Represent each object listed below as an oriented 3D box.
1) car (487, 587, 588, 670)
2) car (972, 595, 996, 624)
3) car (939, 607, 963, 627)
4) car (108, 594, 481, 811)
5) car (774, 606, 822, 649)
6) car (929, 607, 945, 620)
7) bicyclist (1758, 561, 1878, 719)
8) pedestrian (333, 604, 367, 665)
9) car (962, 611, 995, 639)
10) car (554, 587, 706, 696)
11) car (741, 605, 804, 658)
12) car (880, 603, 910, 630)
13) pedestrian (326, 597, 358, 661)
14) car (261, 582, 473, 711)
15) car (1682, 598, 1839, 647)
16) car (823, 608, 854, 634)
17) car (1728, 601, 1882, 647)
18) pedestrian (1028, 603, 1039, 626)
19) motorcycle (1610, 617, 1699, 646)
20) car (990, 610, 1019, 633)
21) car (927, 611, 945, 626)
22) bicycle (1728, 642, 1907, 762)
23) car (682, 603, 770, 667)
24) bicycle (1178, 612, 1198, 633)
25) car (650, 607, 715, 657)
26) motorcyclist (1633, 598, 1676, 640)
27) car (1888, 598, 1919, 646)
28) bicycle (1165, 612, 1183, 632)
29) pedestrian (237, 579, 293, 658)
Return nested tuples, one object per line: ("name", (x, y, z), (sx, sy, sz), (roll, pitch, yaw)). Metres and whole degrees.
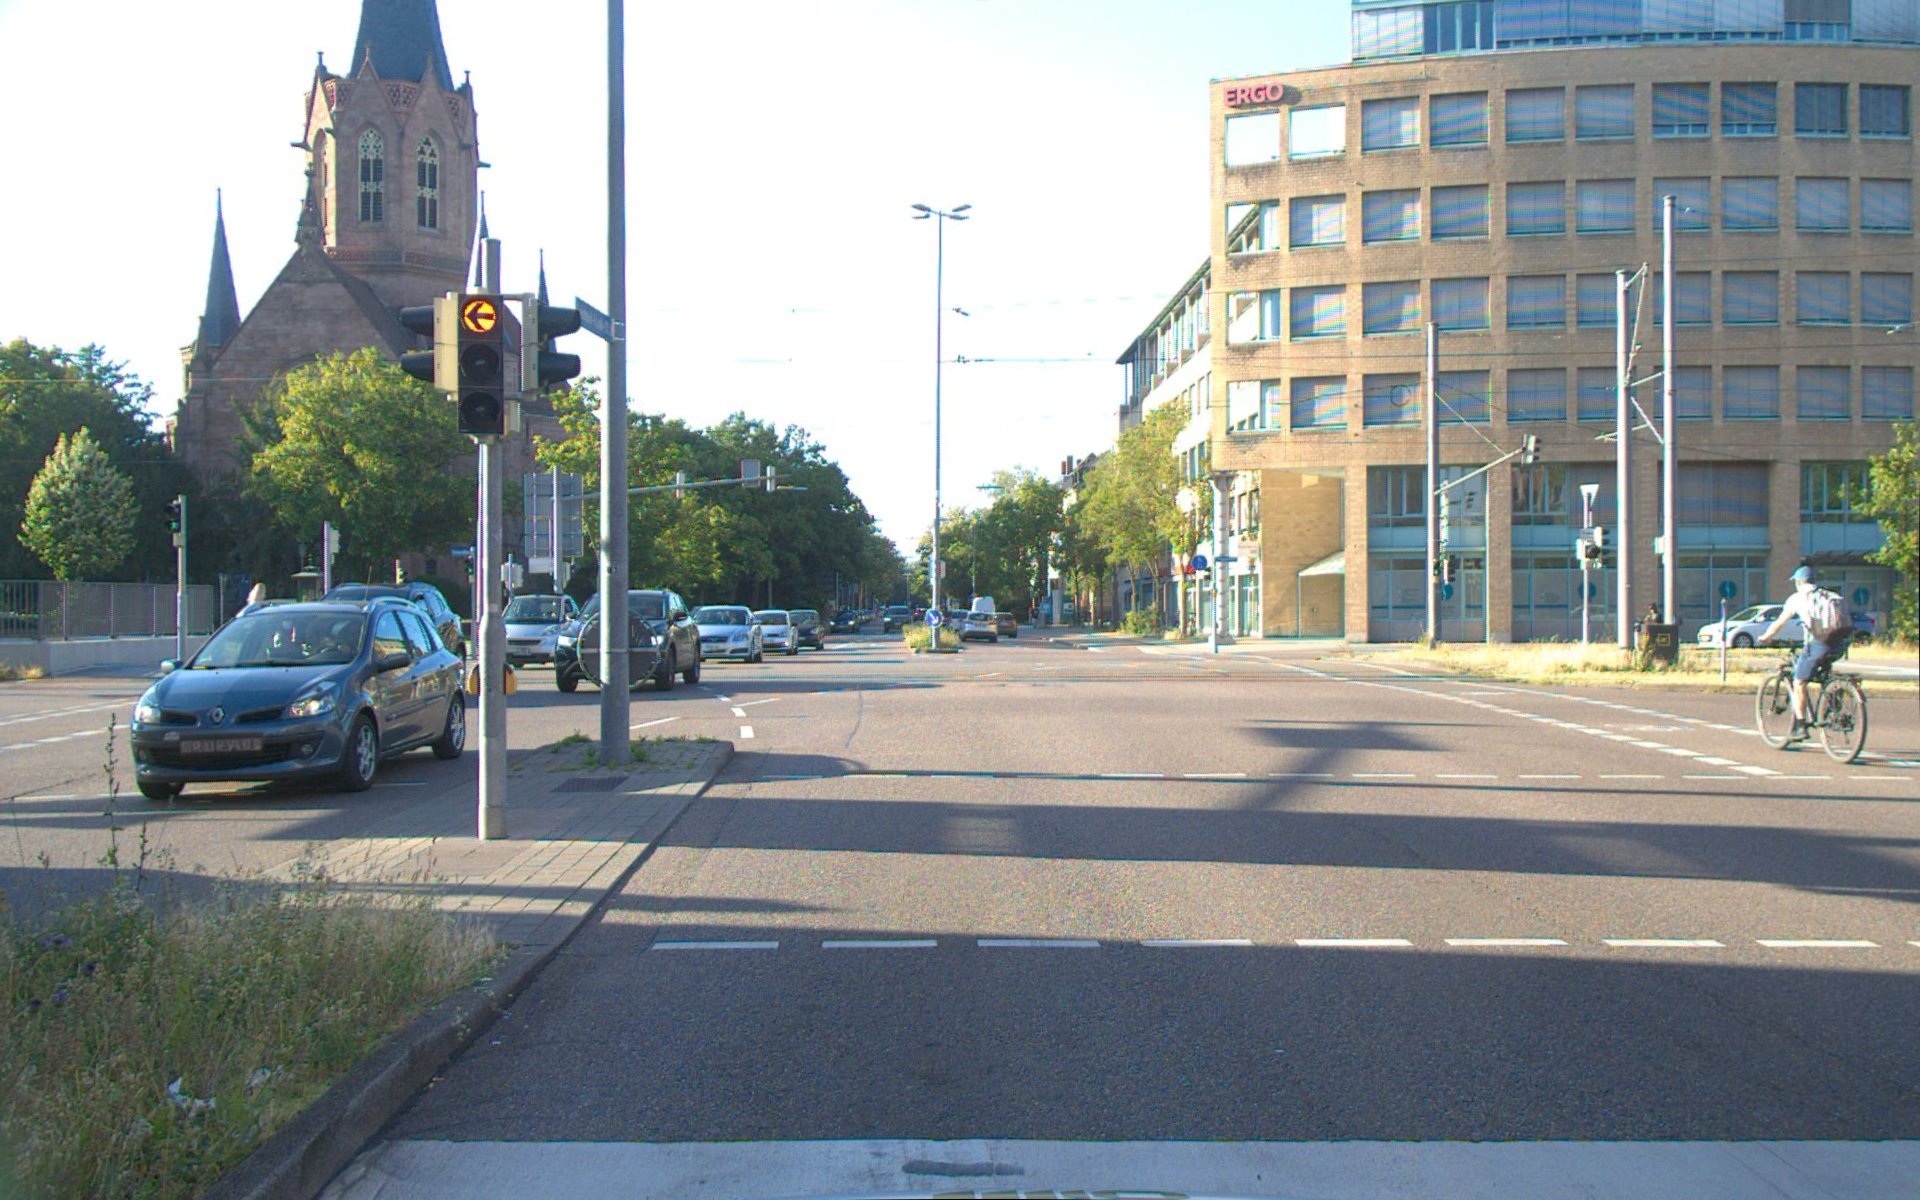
("car", (-8.765, 0.565, 34.518), (1.505, 1.620, 2.806), (-2, 0, -4))
("car", (2.132, 0.829, 145.313), (1.953, 2.483, 3.999), (1, 0, -1))
("car", (-0.618, 1.144, 111.313), (1.562, 1.289, 3.266), (0, 0, -1))
("car", (-5.327, 0.721, 13.814), (1.560, 1.497, 3.984), (-1, 0, -1))
("car", (-6.299, 1.053, 64.614), (1.546, 1.571, 3.476), (-2, 0, -1))
("car", (-2.261, 1.316, 160.611), (1.562, 1.289, 3.266), (0, 0, -1))
("bicyclist", (7.836, 0.352, 15.139), (0.580, 1.393, 0.929), (1, 0, -1))
("pedestrian", (-17.758, 0.998, 48.172), (0.828, 1.726, 1.012), (1, -1, -17))
("car", (0.905, 1.212, 81.547), (1.562, 1.289, 3.266), (0, 0, -1))
("car", (-5.243, 0.606, 26.740), (1.641, 1.571, 4.102), (-2, 0, -1))
("car", (-6.128, 1.008, 54.343), (1.641, 1.571, 3.805), (-2, 0, -1))
("car", (-4.466, 1.171, 114.137), (1.953, 1.754, 5.029), (-1, -1, -2))
("pedestrian", (-16.917, 0.780, 45.288), (0.696, 1.726, 0.893), (1, -1, -14))
("car", (-8.457, 0.596, 23.947), (1.685, 1.657, 4.100), (-2, 0, -2))
("car", (25.511, 0.716, 52.786), (4.080, 1.518, 1.994), (0, -1, -3))
("car", (-8.516, 1.514, 115.802), (1.953, 1.754, 4.591), (-1, -1, -2))
("car", (29.593, 0.849, 57.986), (4.390, 1.564, 1.986), (0, -1, -1))
("pedestrian", (5.846, 1.140, 131.434), (0.830, 1.835, 0.775), (0, 0, -1))
("motorcycle", (24.246, 1.101, 57.785), (2.663, 0.981, 1.031), (0, -1, -2))
("car", (2.641, 1.267, 97.982), (1.562, 1.289, 3.266), (0, 0, -1))
("car", (-2.152, 1.677, 148.290), (1.562, 1.289, 3.266), (0, 0, -1))
("bicycle", (7.818, 0.903, 15.178), (0.580, 0.959, 1.978), (1, 0, -1))
("car", (-5.863, 0.846, 41.756), (1.674, 1.450, 4.101), (-2, 0, -1))
("bicycle", (11.188, 1.105, 81.099), (0.633, 1.012, 2.080), (0, 0, -2))
("car", (-9.459, 1.064, 56.582), (1.641, 1.571, 3.637), (-2, 0, -1))
("motorcyclist", (24.258, 0.665, 57.791), (1.044, 1.460, 1.031), (0, -1, -2))
("car", (32.271, 0.687, 53.059), (3.970, 1.518, 1.819), (0, -1, -2))
("bicycle", (11.071, 1.124, 85.647), (0.633, 1.012, 2.080), (0, 0, -2))
("pedestrian", (-15.744, 0.425, 37.489), (0.946, 1.770, 0.811), (0, -1, -3))
